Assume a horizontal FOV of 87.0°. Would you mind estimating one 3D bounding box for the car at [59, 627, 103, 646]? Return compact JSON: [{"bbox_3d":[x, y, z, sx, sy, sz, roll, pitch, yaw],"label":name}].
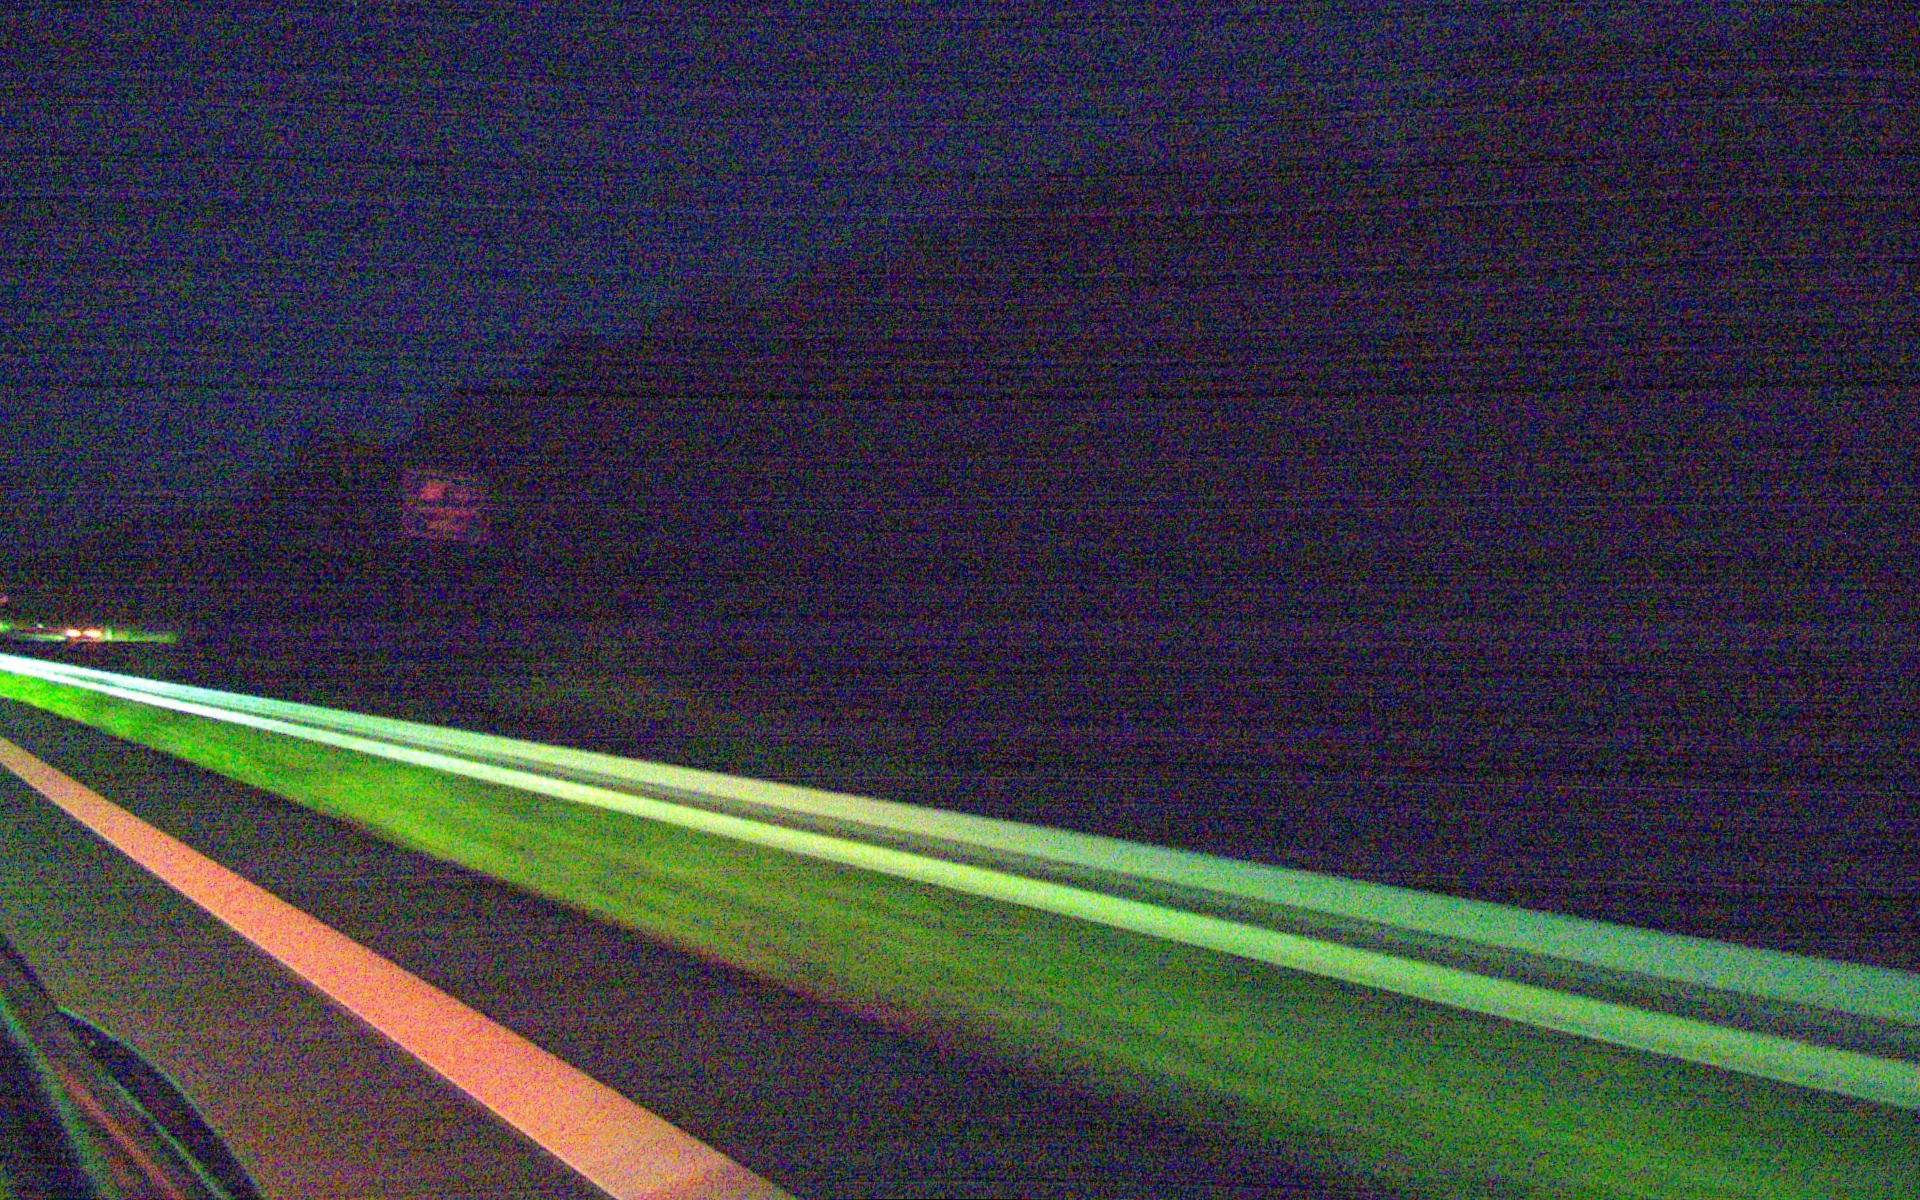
[{"bbox_3d":[-74.270,3.051,85.485,5.196,1.515,1.973,-1,-3,40],"label":"car"}]
